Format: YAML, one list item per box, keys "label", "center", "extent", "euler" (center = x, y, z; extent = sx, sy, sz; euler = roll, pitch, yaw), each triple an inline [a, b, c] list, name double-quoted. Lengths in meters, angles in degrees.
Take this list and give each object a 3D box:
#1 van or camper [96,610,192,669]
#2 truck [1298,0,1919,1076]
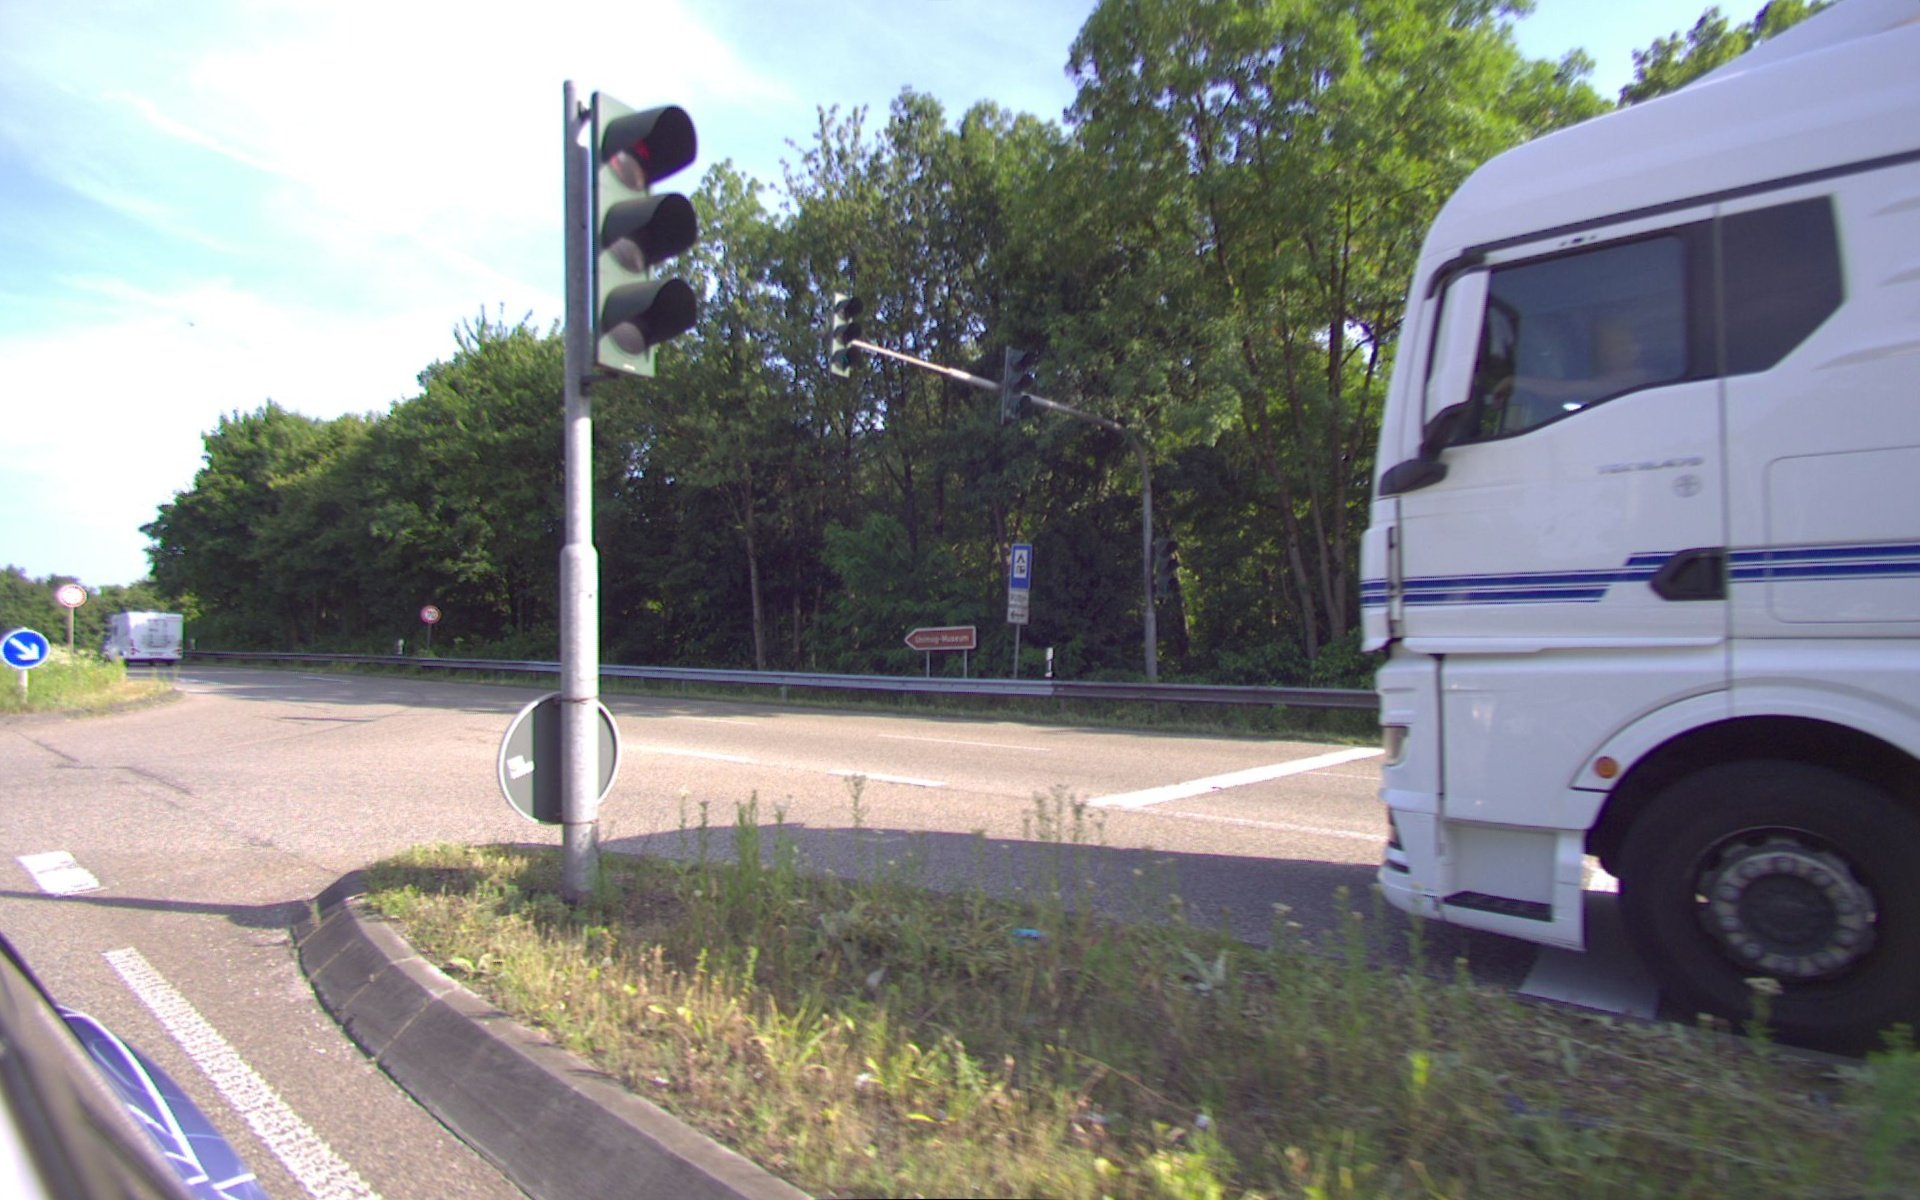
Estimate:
- label: "van or camper"
  center: [-40.747, 1.986, 50.471]
  extent: [6.431, 2.732, 2.388]
  euler: [-2, -4, 40]
- label: "truck"
  center: [4.982, -0.615, 3.296]
  extent: [6.713, 4.027, 2.863]
  euler: [-2, -1, 38]
